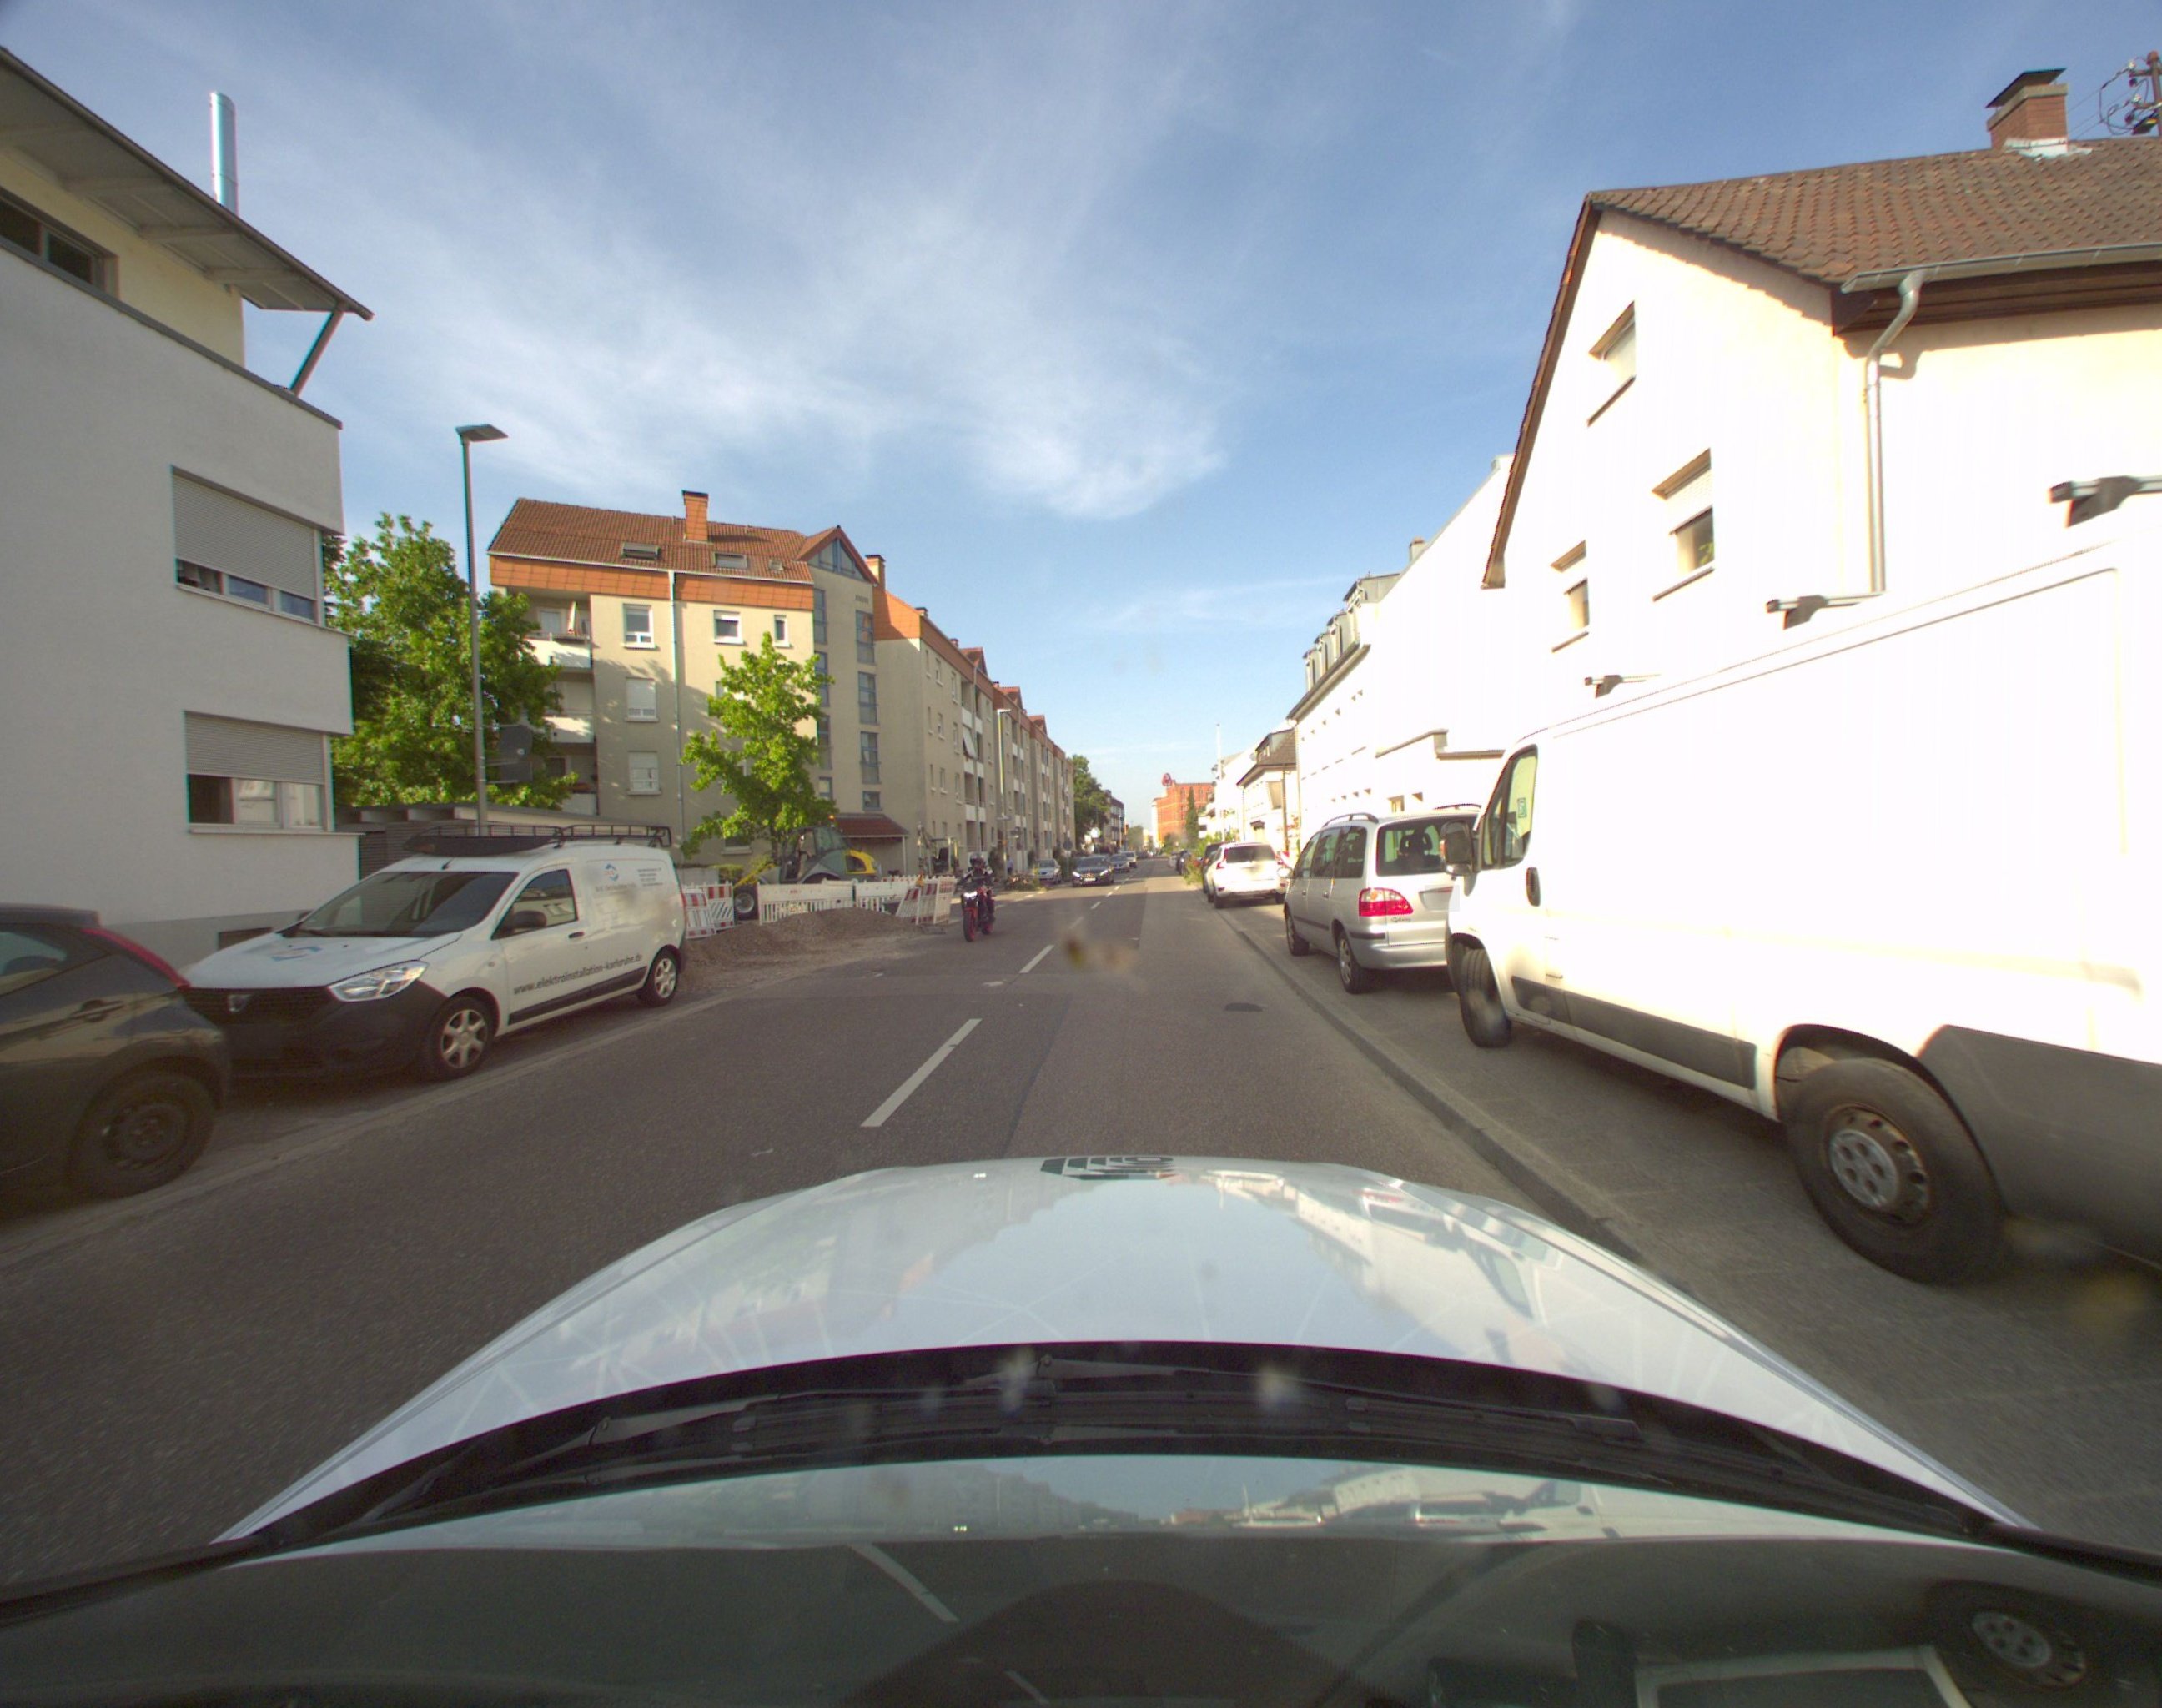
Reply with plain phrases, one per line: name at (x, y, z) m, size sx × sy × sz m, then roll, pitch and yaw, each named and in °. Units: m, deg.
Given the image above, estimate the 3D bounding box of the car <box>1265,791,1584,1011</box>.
car at (3.385, 0.378, 9.081) m, size 1.770 × 1.741 × 4.487 m, roll -4°, pitch 0°, yaw 3°

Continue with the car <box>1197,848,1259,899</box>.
car at (4.964, 0.635, 27.971) m, size 1.581 × 1.528 × 4.620 m, roll -4°, pitch -1°, yaw 5°

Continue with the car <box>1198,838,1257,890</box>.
car at (5.914, 0.370, 33.282) m, size 2.064 × 1.856 × 4.620 m, roll -4°, pitch 0°, yaw 8°

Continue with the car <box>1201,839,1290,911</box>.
car at (4.353, 0.496, 22.182) m, size 1.803 × 1.683 × 4.483 m, roll -3°, pitch 0°, yaw 5°

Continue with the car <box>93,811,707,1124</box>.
car at (-5.359, 0.708, 7.406) m, size 1.721 × 1.960 × 4.440 m, roll -1°, pitch 0°, yaw 1°

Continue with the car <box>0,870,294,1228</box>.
car at (-5.278, 0.845, 2.893) m, size 1.488 × 1.465 × 3.514 m, roll -1°, pitch 0°, yaw 1°

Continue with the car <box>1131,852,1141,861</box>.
car at (12.226, 0.519, 179.409) m, size 1.983 × 1.882 × 4.007 m, roll -2°, pitch 0°, yaw 6°

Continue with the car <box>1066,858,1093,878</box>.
car at (-0.074, 1.039, 62.449) m, size 1.678 × 1.405 × 4.089 m, roll -1°, pitch 0°, yaw 5°

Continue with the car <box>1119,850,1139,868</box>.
car at (5.111, 0.521, 85.842) m, size 1.913 × 1.767 × 4.343 m, roll -2°, pitch 0°, yaw 4°

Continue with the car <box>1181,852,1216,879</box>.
car at (6.899, 0.655, 48.202) m, size 1.771 × 1.420 × 4.502 m, roll -2°, pitch 0°, yaw 4°

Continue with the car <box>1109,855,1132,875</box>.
car at (3.207, 0.850, 65.526) m, size 1.610 × 1.455 × 3.690 m, roll -3°, pitch 0°, yaw 4°

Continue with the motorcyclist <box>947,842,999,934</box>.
motorcyclist at (-2.046, 0.628, 15.492) m, size 0.766 × 1.652 × 0.844 m, roll -3°, pitch 0°, yaw 2°

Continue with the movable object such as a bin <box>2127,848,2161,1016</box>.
movable object such as a bin at (7.423, 0.501, 5.201) m, size 0.725 × 1.093 × 0.554 m, roll -2°, pitch 0°, yaw 3°

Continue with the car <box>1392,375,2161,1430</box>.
car at (3.572, 0.055, 4.129) m, size 2.166 × 2.327 × 5.001 m, roll -4°, pitch 0°, yaw 3°

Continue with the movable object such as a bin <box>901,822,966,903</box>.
movable object such as a bin at (-6.119, 0.312, 34.164) m, size 1.640 × 3.138 × 3.904 m, roll -2°, pitch 0°, yaw 4°

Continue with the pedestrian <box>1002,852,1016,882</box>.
pedestrian at (-4.473, 0.785, 50.545) m, size 0.715 × 1.818 × 0.746 m, roll -1°, pitch 0°, yaw 5°

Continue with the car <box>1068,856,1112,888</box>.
car at (0.483, 0.842, 40.097) m, size 1.821 × 1.420 × 4.214 m, roll -3°, pitch 0°, yaw 4°

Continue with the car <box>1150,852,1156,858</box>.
car at (20.830, 0.371, 235.464) m, size 1.755 × 1.616 × 4.006 m, roll -3°, pitch 0°, yaw 5°

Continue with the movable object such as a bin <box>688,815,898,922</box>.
movable object such as a bin at (-8.326, 0.379, 24.122) m, size 5.497 × 2.900 × 2.105 m, roll -1°, pitch 0°, yaw -10°

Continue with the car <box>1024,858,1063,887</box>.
car at (-2.007, 0.955, 44.219) m, size 1.633 × 1.395 × 3.675 m, roll -3°, pitch 0°, yaw 4°

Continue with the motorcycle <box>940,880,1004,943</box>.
motorcycle at (-2.031, 1.051, 15.448) m, size 0.765 × 0.984 × 2.201 m, roll -3°, pitch 0°, yaw 3°

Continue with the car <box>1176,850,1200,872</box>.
car at (8.464, 0.600, 64.371) m, size 1.820 × 1.630 × 4.471 m, roll 0°, pitch -2°, yaw 7°
